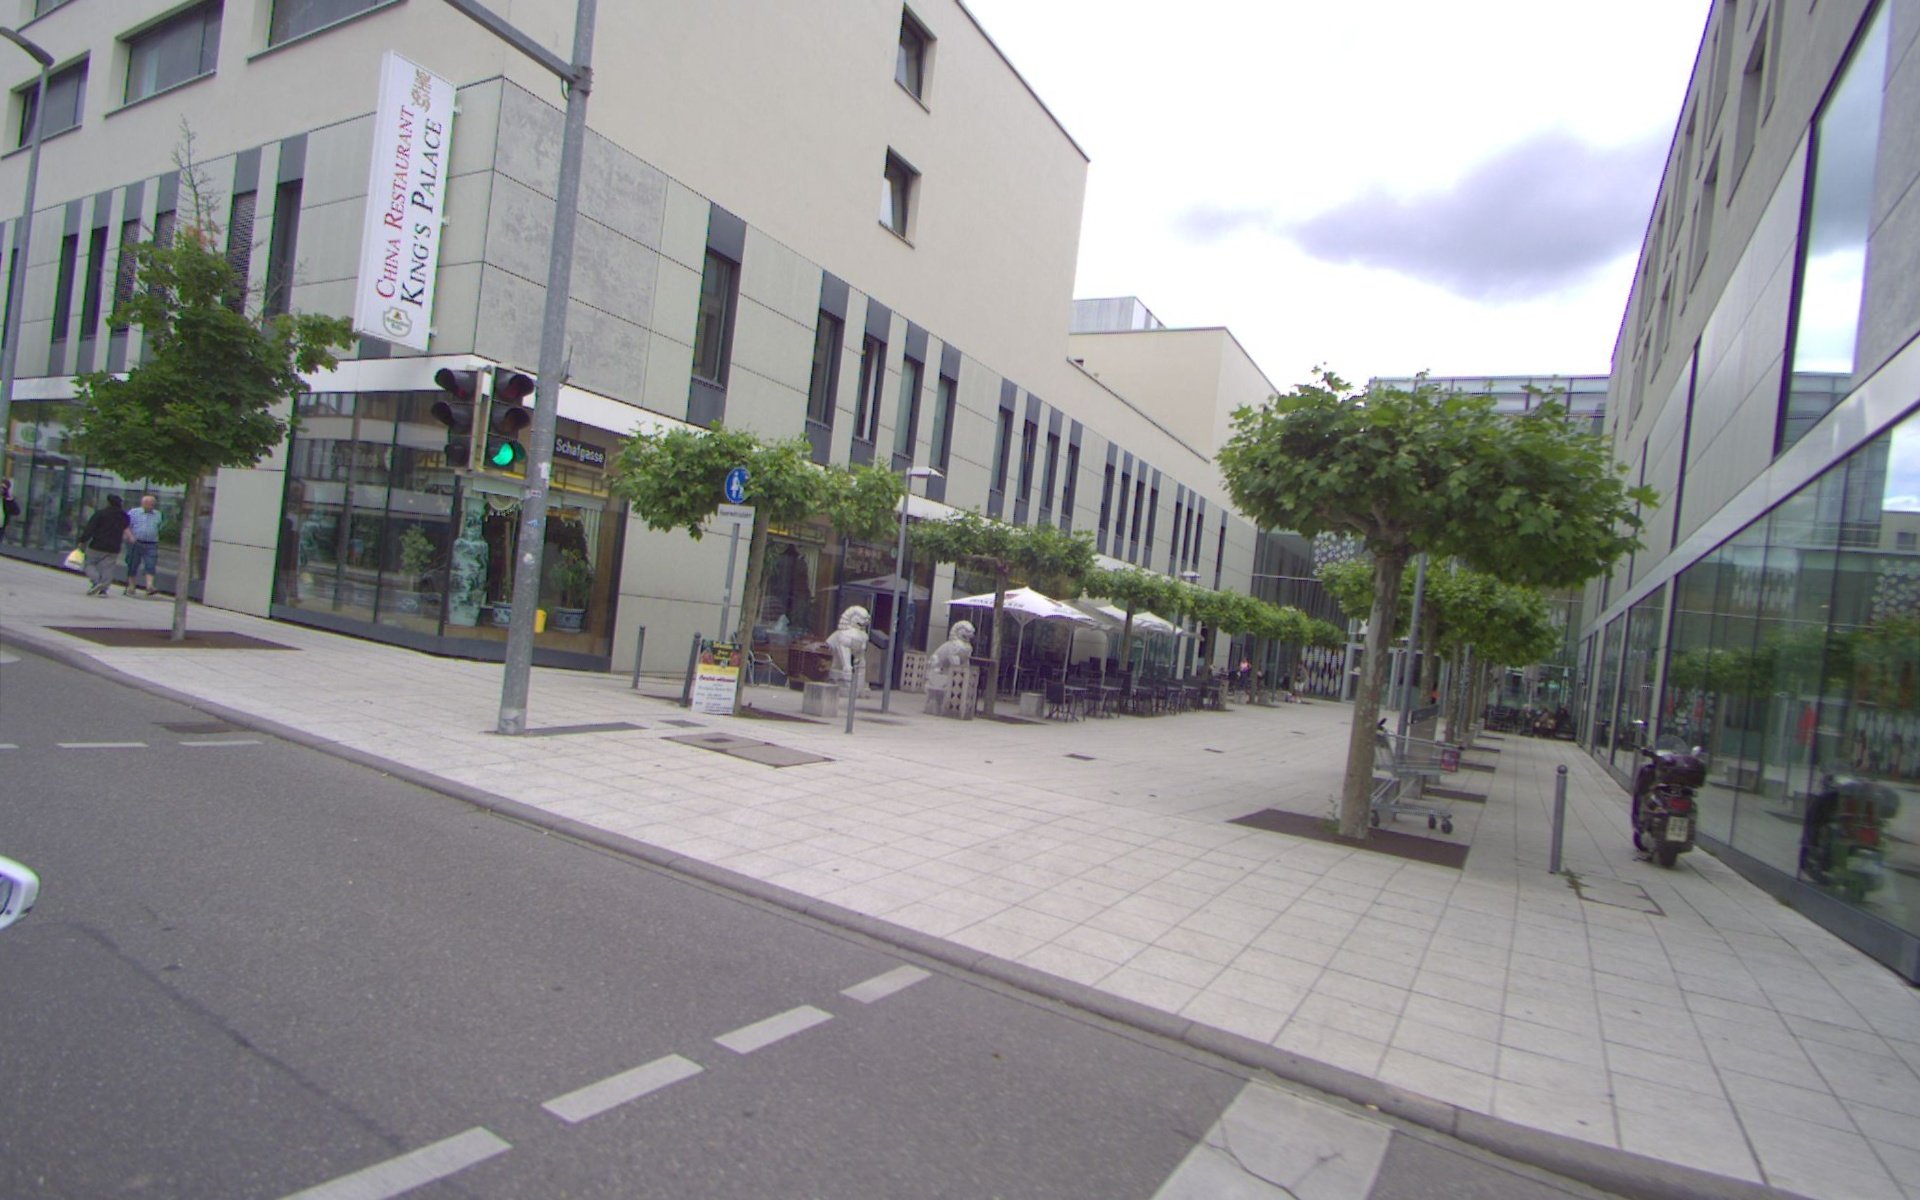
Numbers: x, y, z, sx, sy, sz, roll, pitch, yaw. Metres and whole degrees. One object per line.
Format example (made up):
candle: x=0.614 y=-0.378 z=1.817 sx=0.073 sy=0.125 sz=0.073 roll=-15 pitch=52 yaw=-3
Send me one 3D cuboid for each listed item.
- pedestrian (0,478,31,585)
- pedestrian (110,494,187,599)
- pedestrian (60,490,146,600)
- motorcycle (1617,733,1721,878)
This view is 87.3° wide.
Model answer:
pedestrian: x=-15.731 y=-1.144 z=16.347 sx=0.604 sy=1.689 sz=0.656 roll=7 pitch=0 yaw=31
pedestrian: x=-13.997 y=-0.911 z=17.364 sx=0.604 sy=1.689 sz=0.745 roll=7 pitch=0 yaw=31
pedestrian: x=-13.642 y=-0.868 z=16.015 sx=0.703 sy=1.628 sz=0.741 roll=7 pitch=0 yaw=31
motorcycle: x=7.264 y=2.049 z=10.375 sx=0.584 sy=1.272 sz=1.844 roll=4 pitch=-4 yaw=29
